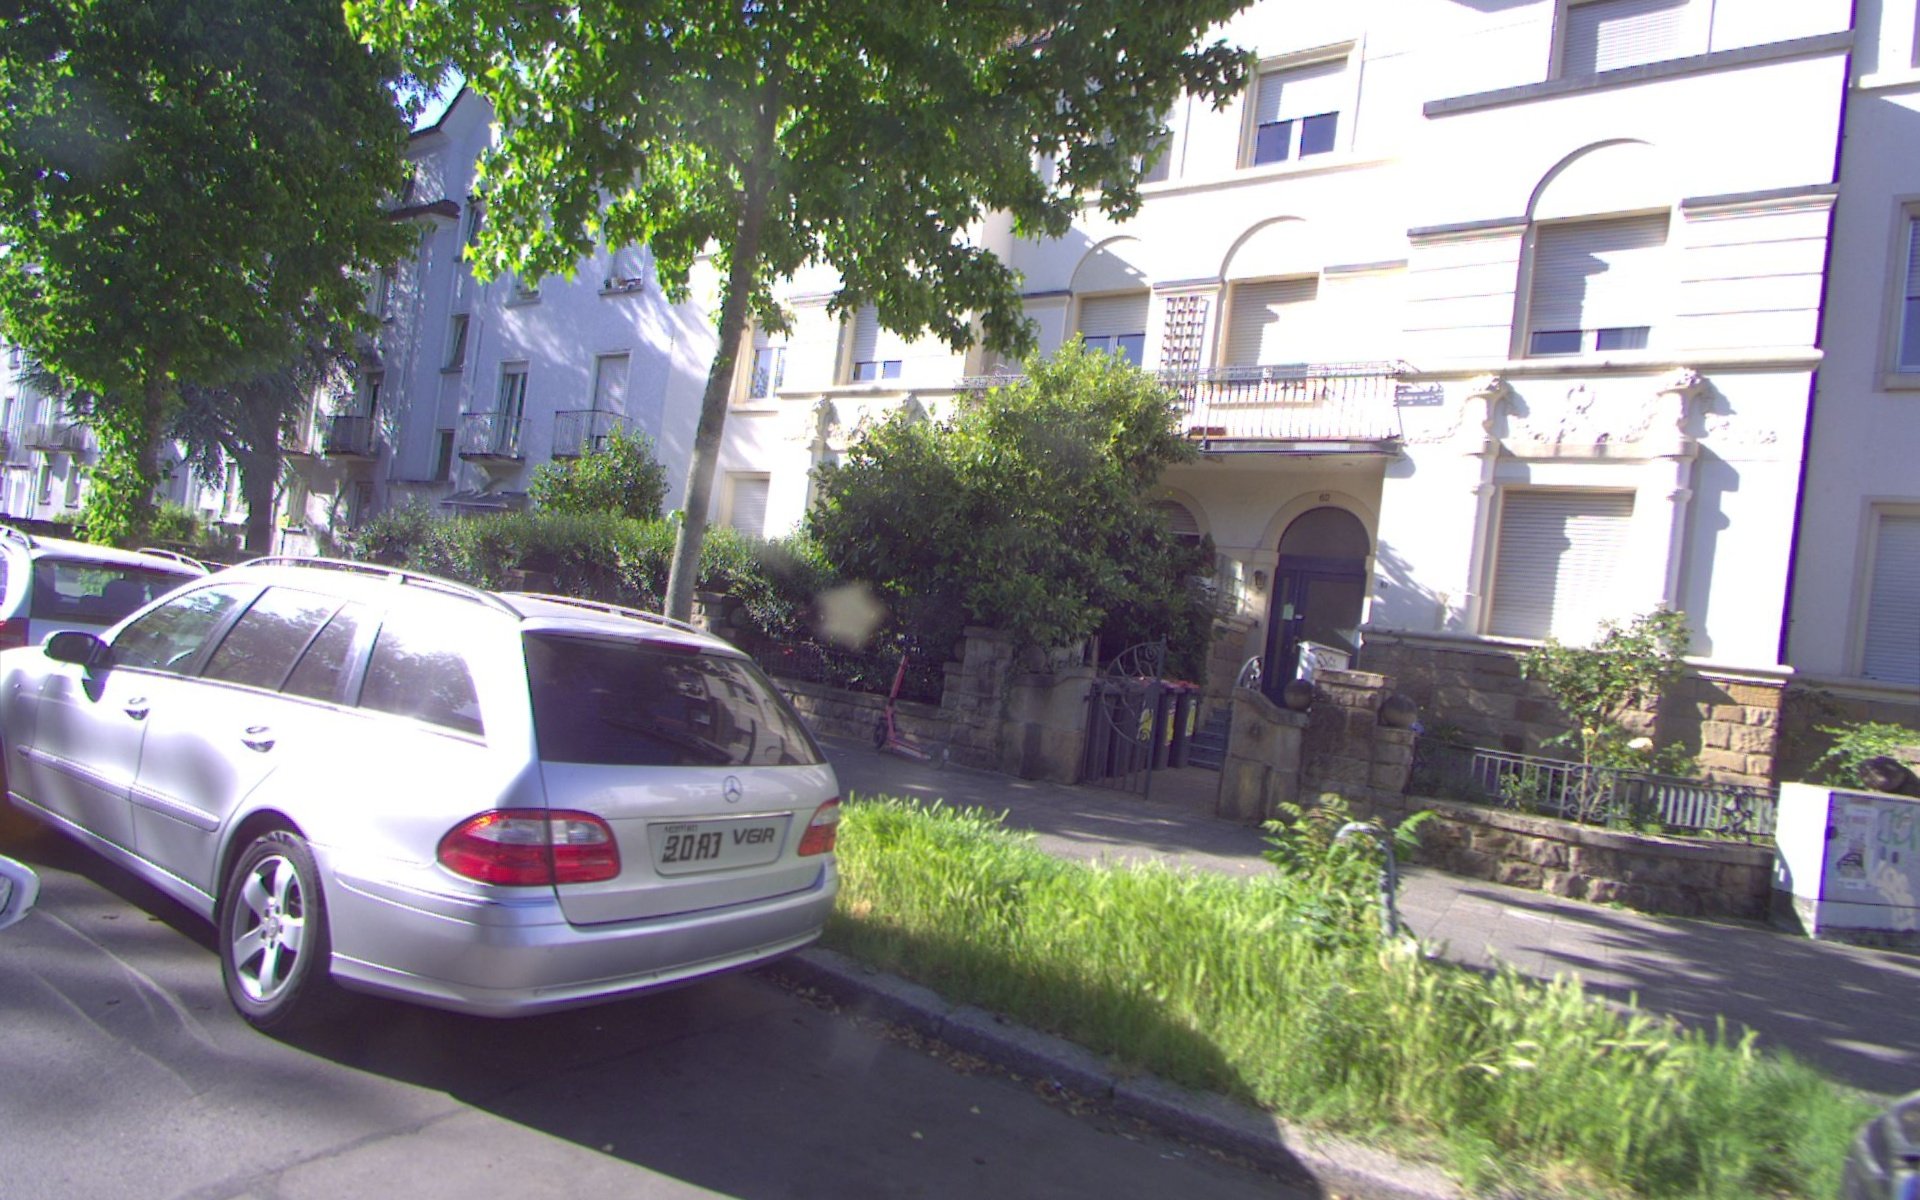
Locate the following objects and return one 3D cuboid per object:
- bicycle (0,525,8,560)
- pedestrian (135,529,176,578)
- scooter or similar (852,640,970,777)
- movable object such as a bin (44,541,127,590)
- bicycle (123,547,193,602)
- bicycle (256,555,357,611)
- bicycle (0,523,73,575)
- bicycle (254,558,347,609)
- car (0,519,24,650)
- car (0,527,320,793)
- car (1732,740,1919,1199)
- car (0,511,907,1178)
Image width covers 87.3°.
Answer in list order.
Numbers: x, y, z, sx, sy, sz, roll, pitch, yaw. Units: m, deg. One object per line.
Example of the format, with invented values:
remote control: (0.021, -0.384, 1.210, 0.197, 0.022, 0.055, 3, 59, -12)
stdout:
bicycle: (-28.098, -1.719, 28.910, 1.873, 0.969, 0.596, 6, -1, 33)
pedestrian: (-20.716, -1.187, 25.908, 0.744, 1.155, 0.510, 6, -2, 35)
scooter or similar: (-0.516, 1.078, 10.195, 0.400, 1.199, 1.191, 8, -1, -41)
movable object such as a bin: (-20.148, -0.804, 23.224, 1.215, 0.915, 1.648, 8, -2, -36)
bicycle: (-17.156, -0.547, 21.514, 1.873, 0.986, 0.581, 6, -1, 35)
bicycle: (-15.947, -0.402, 24.605, 0.574, 1.113, 1.898, 6, -2, 36)
bicycle: (-24.352, -1.338, 26.492, 1.966, 1.128, 0.806, 6, -2, 30)
bicycle: (-17.404, -0.426, 26.587, 0.574, 1.113, 1.898, 6, -2, 36)
car: (-11.552, -0.304, 10.370, 3.904, 1.548, 1.659, 6, -4, 32)
car: (-6.862, 0.214, 7.291, 4.781, 1.426, 1.715, 6, -4, 32)
car: (3.826, 1.242, 0.757, 4.885, 1.541, 1.900, 5, -3, 32)
car: (-2.814, 0.576, 4.536, 4.828, 1.485, 1.826, 6, -4, 32)
